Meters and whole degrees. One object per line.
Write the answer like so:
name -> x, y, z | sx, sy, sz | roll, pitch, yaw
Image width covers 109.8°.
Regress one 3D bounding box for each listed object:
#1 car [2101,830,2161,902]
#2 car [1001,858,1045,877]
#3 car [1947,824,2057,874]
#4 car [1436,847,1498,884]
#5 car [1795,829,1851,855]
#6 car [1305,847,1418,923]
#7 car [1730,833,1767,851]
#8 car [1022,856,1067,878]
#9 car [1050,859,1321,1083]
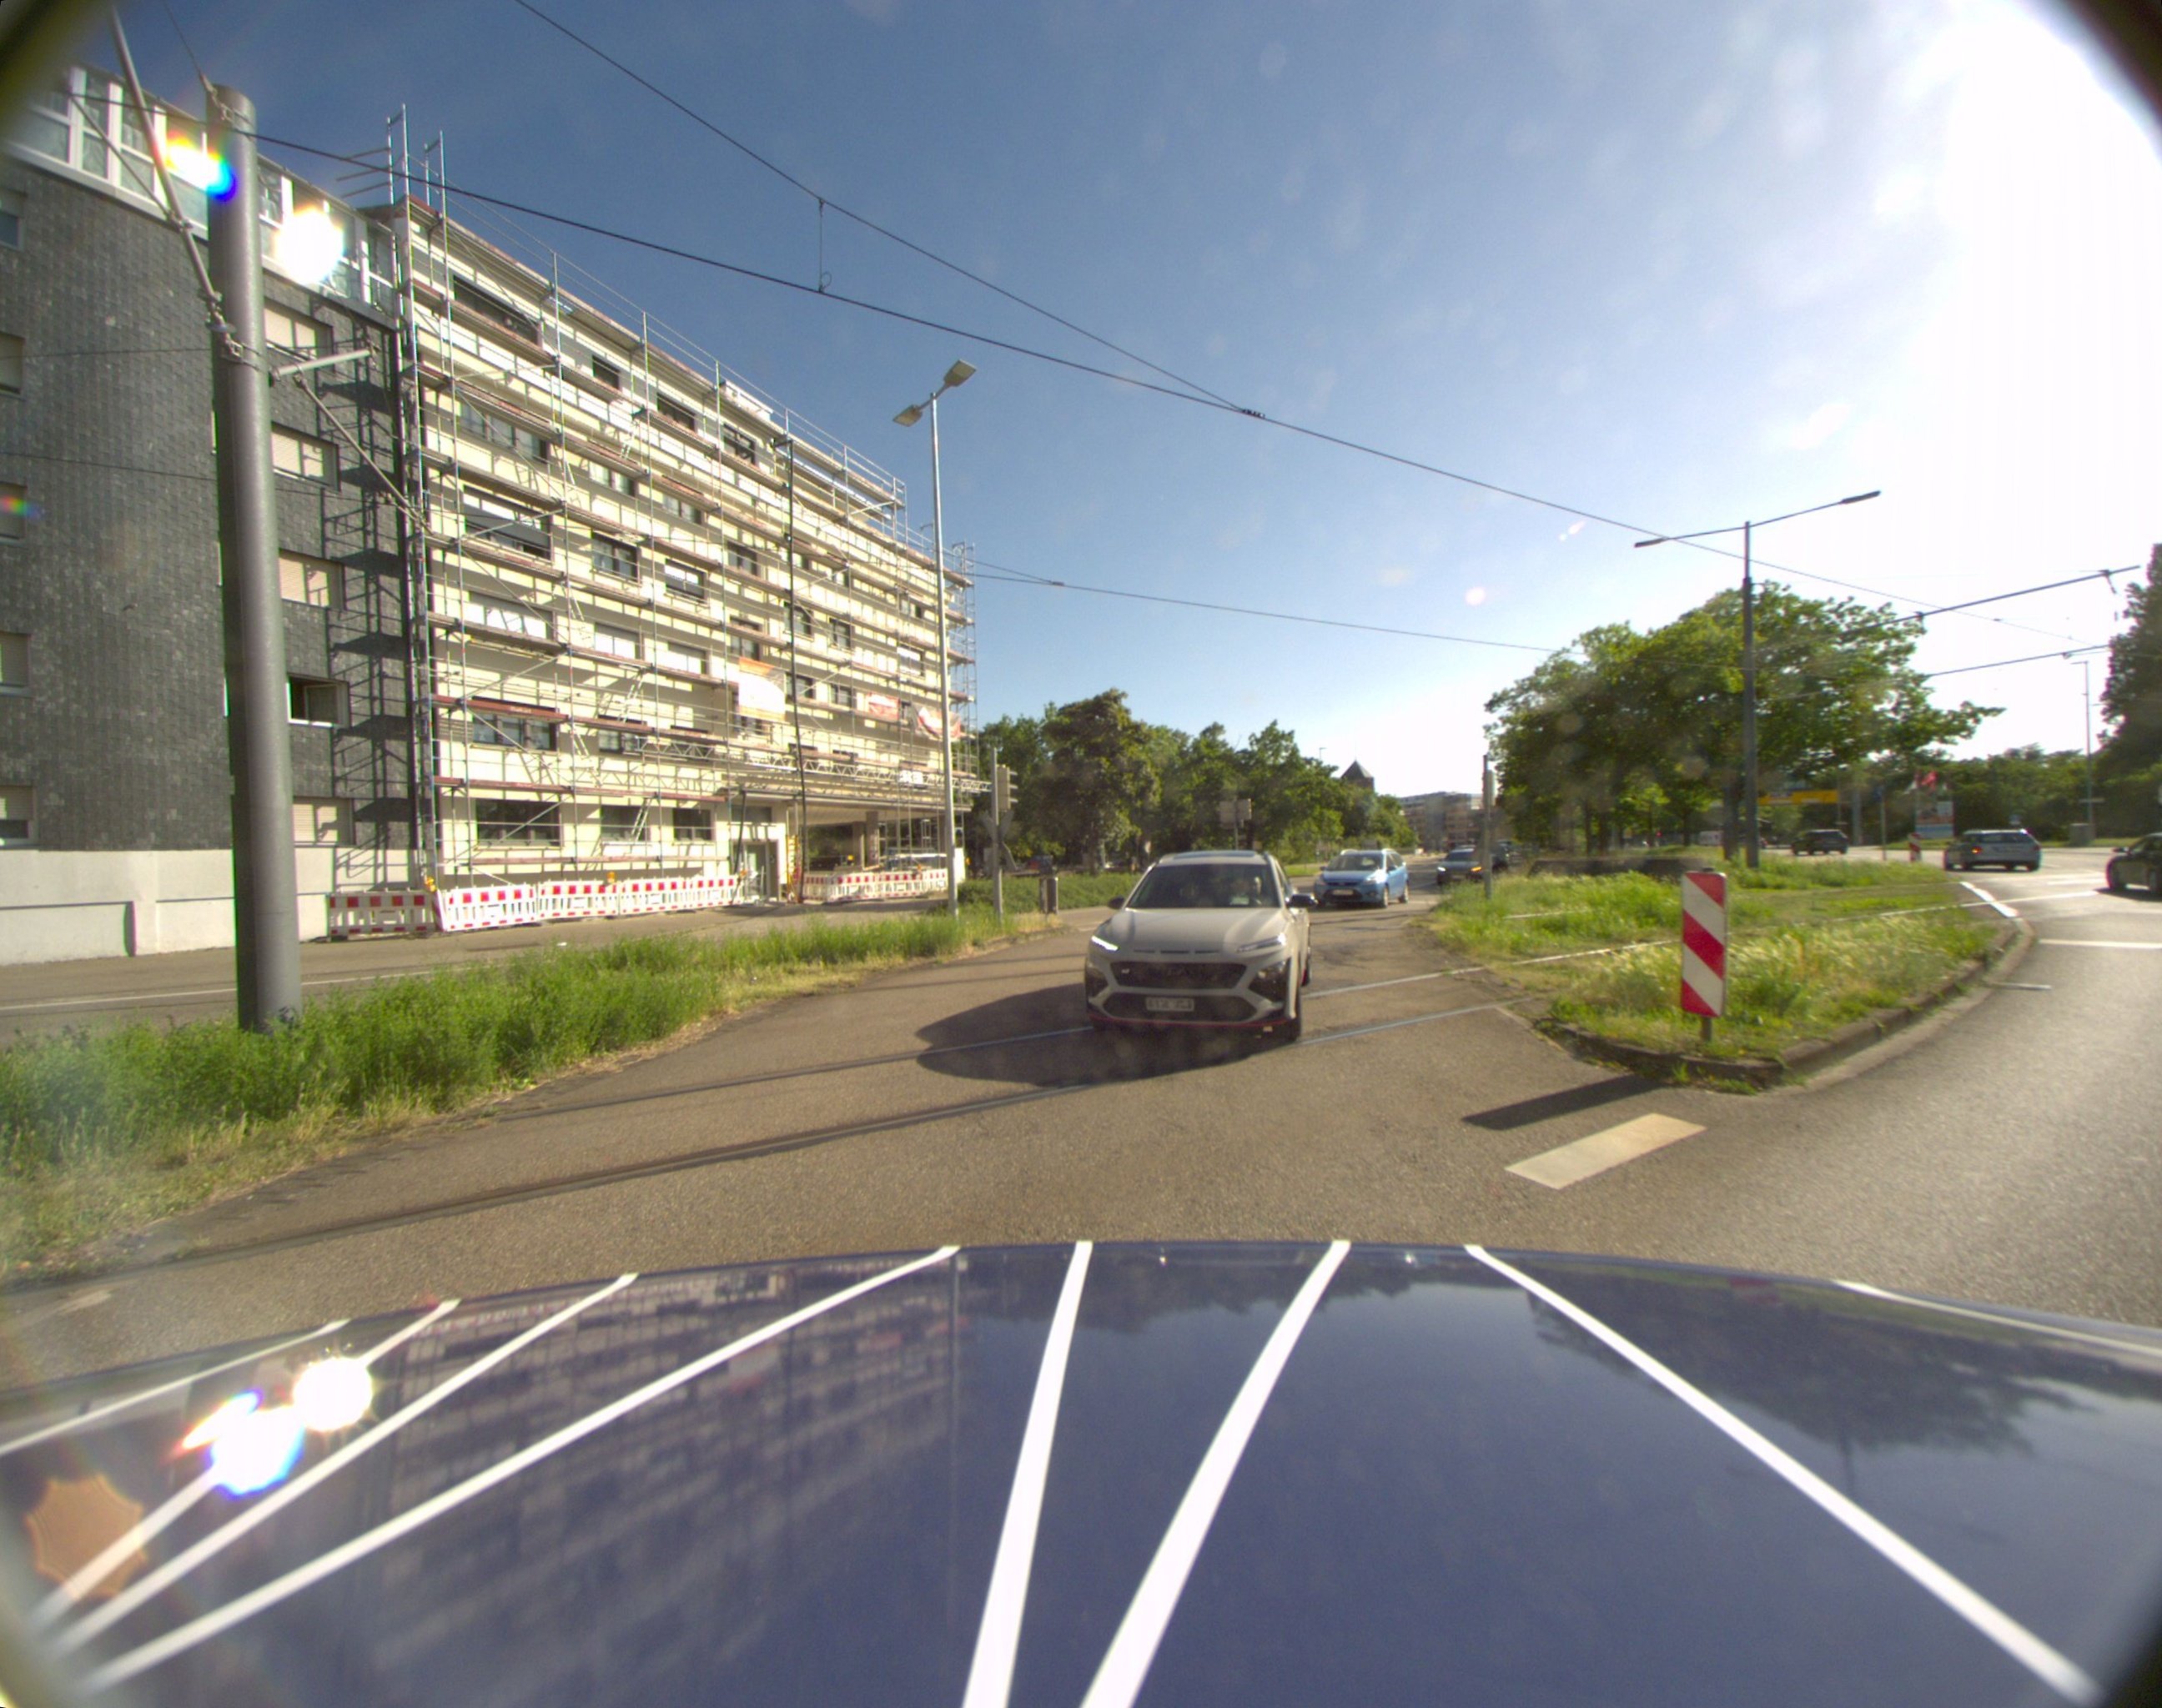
car -> 25.667, 0.205, 17.383 | 1.994, 1.543, 4.494 | -1, 0, 43
car -> -4.622, 1.071, 61.157 | 1.817, 1.386, 3.691 | -1, 0, 29
car -> 33.653, -0.198, 27.889 | 1.994, 1.652, 4.494 | -1, 0, 43
car -> 16.640, 0.464, 32.634 | 1.869, 1.447, 4.493 | -1, 0, 33
car -> 50.334, -0.831, 51.650 | 1.994, 1.652, 4.493 | -1, 0, 35
car -> 7.689, 0.747, 20.544 | 1.869, 1.765, 4.493 | -1, 0, 33
car -> 64.764, -1.147, 73.779 | 1.995, 1.652, 4.493 | -1, 0, 32
car -> -2.840, 0.982, 59.787 | 1.817, 1.574, 3.691 | -1, 0, 29
car -> 1.415, 0.879, 7.904 | 1.901, 1.543, 4.491 | -2, 0, 19
